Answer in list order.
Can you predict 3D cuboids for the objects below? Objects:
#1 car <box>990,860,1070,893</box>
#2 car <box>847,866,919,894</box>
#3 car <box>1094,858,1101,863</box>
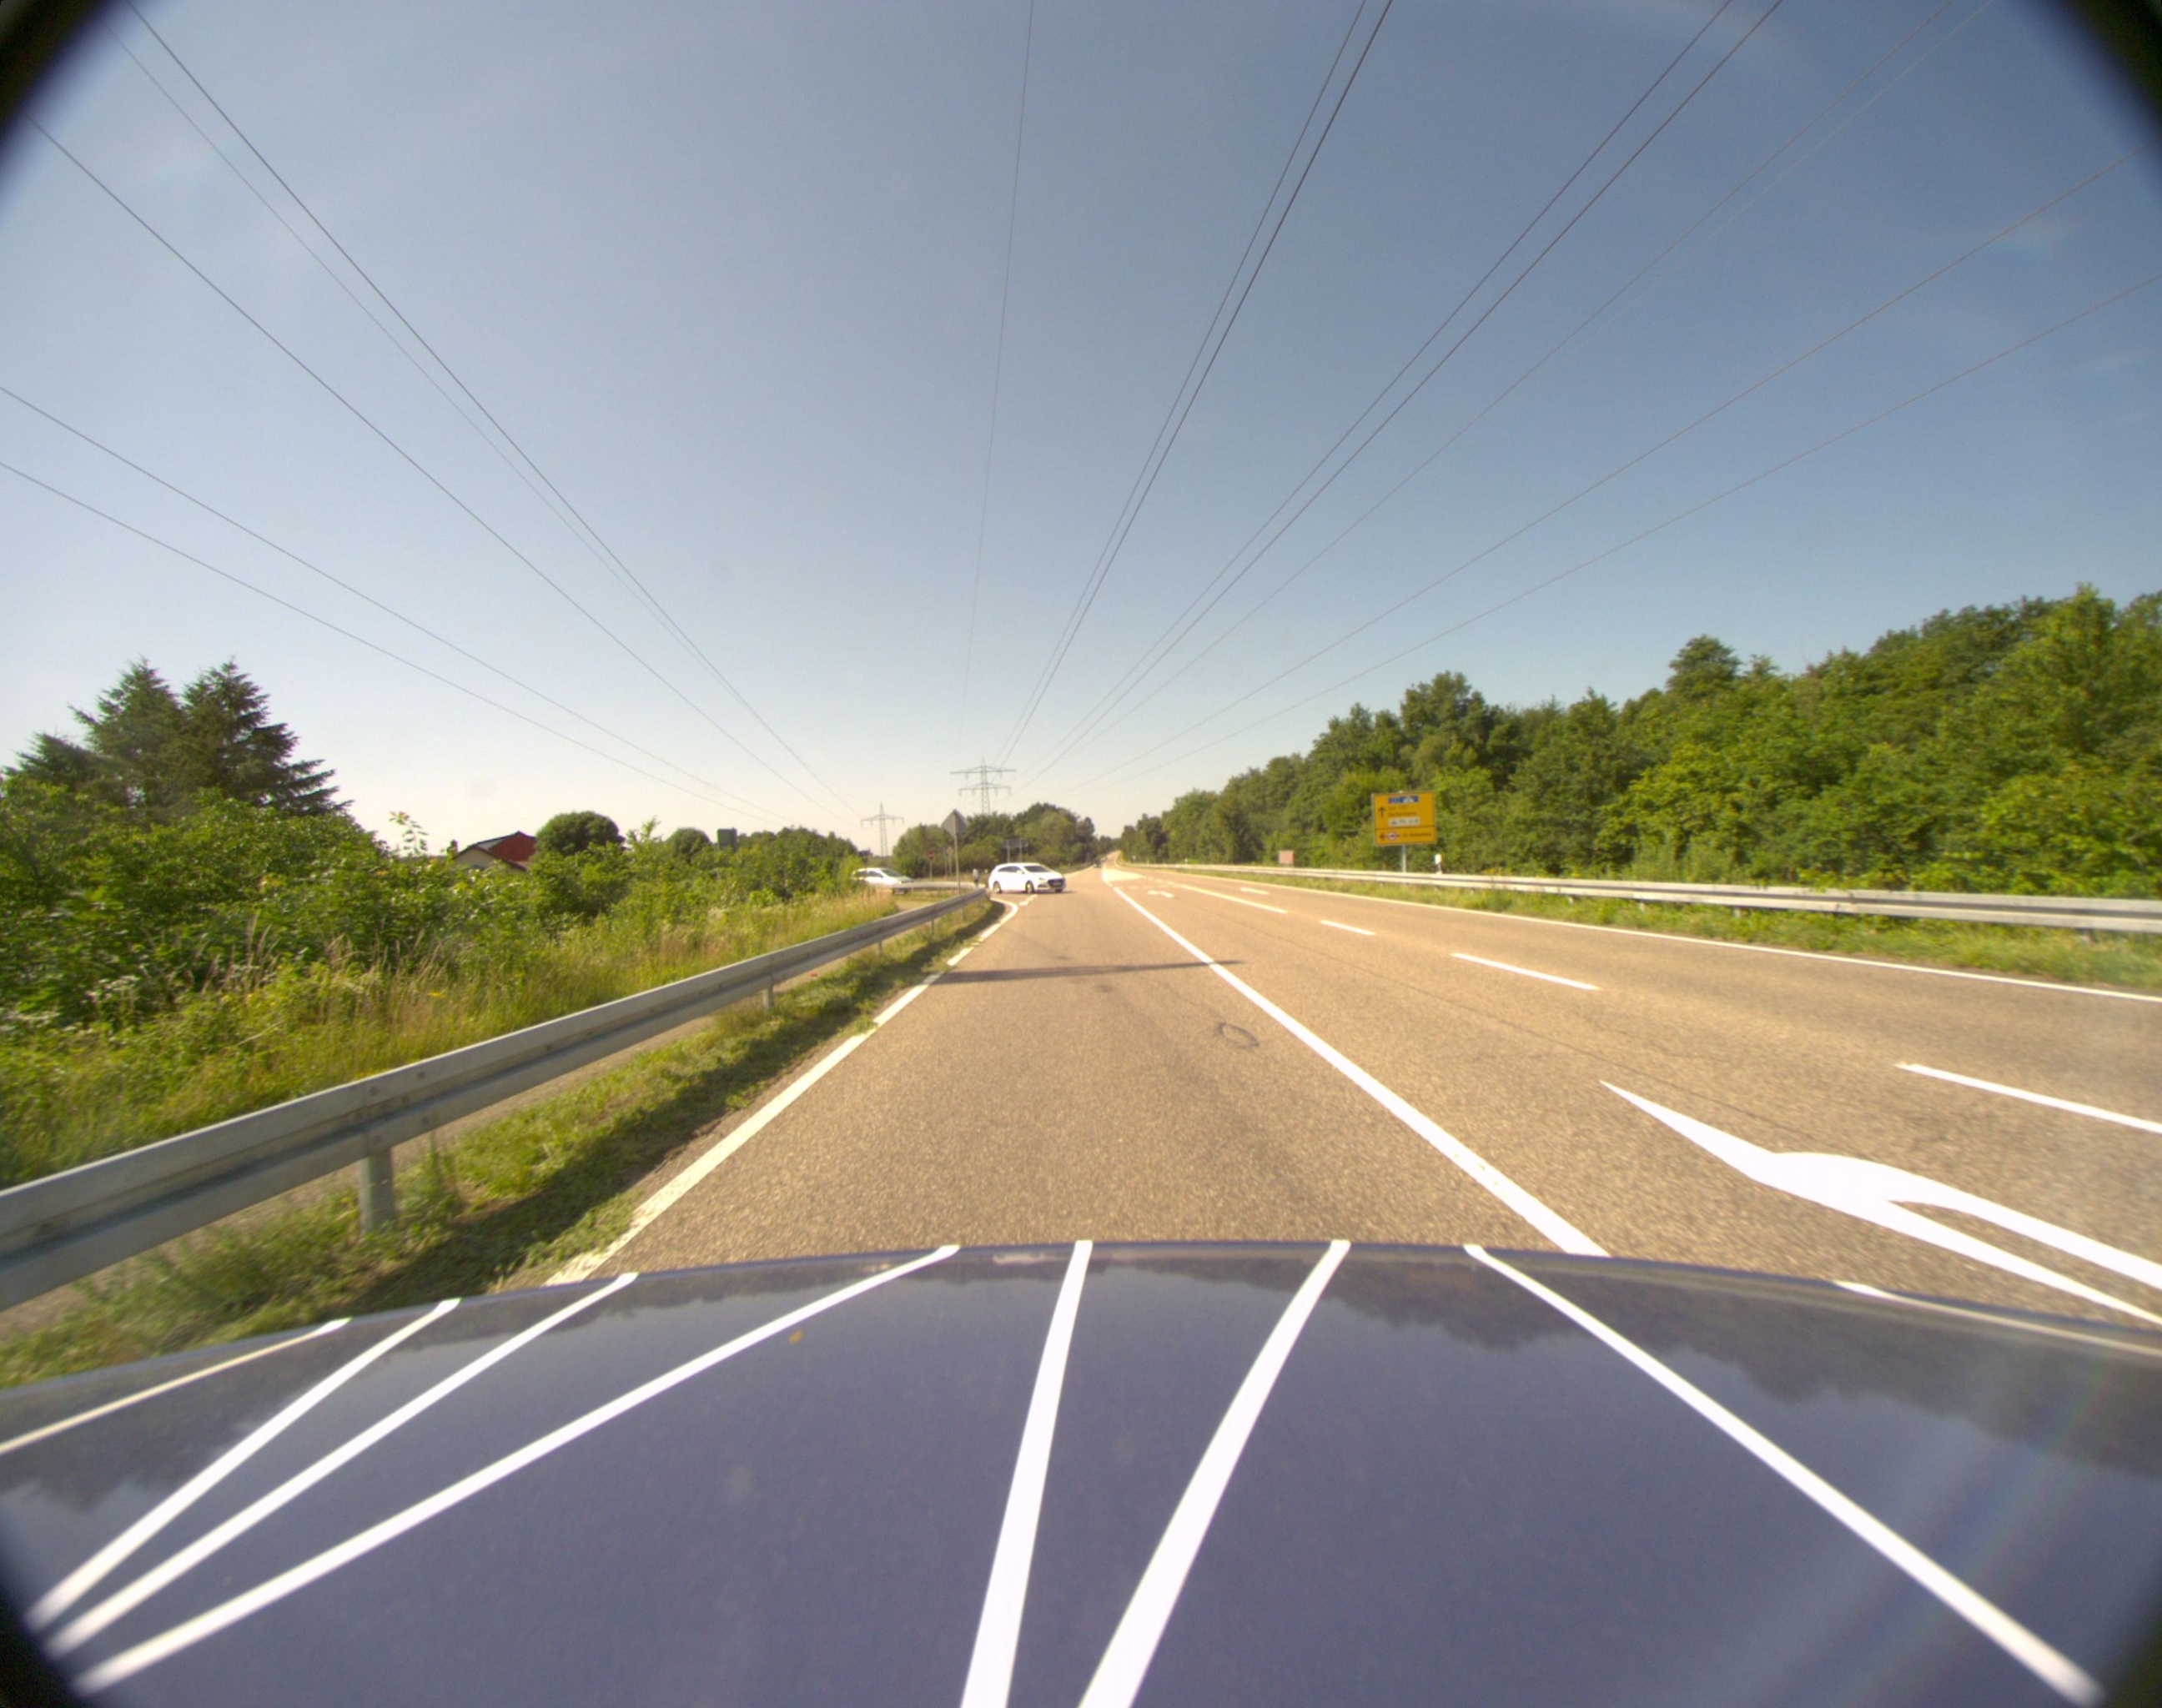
[{"bbox_3d":[-2.551,1.105,37.184,1.687,1.471,4.462,-2,0,-37],"label":"car"},{"bbox_3d":[-11.270,1.490,43.263,3.653,1.460,1.552,-2,0,21],"label":"car"},{"bbox_3d":[3.959,1.571,179.044,1.511,1.237,3.074,-2,0,1],"label":"car"}]
